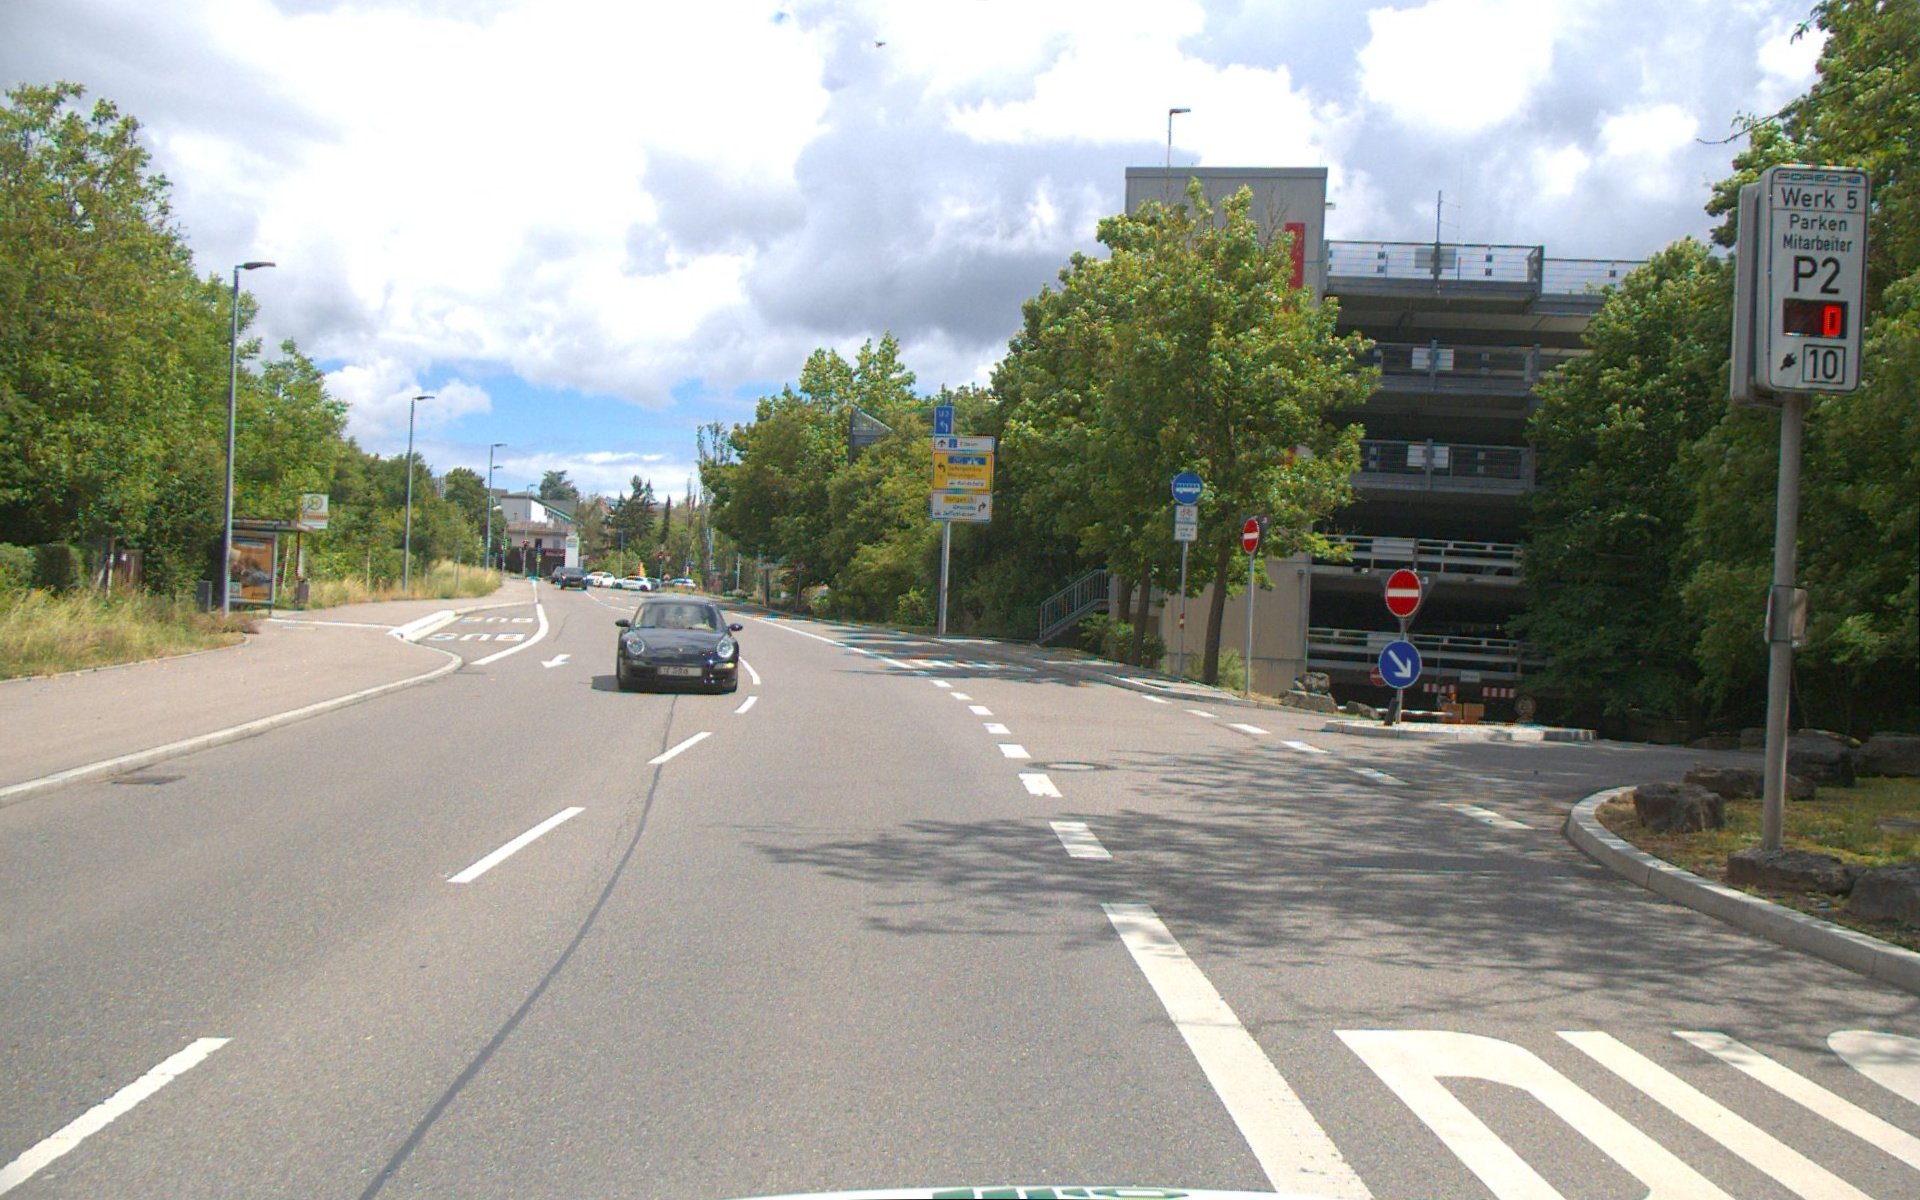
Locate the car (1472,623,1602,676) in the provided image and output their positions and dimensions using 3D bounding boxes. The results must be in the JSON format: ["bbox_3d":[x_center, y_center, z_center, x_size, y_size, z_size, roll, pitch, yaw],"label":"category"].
[{"bbox_3d":[20.776,1.769,59.732,4.222,1.659,2.001,3,0,14],"label":"car"}]

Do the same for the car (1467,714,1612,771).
[{"bbox_3d":[18.780,4.601,53.753,4.222,1.443,2.001,3,0,14],"label":"car"}]

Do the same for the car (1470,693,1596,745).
[{"bbox_3d":[21.164,4.383,61.263,4.222,1.515,2.001,3,0,14],"label":"car"}]

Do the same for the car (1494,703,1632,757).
[{"bbox_3d":[20.641,4.449,56.786,4.222,1.443,2.001,3,0,14],"label":"car"}]

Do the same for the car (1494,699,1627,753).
[{"bbox_3d":[21.270,4.451,58.771,4.222,1.515,2.001,3,0,14],"label":"car"}]

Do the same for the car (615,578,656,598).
[{"bbox_3d":[-33.460,-1.202,170.551,3.921,1.937,1.992,2,0,-16],"label":"car"}]

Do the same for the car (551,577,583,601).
[{"bbox_3d":[-27.780,-0.771,116.855,1.795,1.584,4.604,1,1,-19],"label":"car"}]

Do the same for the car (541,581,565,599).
[{"bbox_3d":[-33.892,-0.845,137.629,1.738,1.467,4.357,2,0,-17],"label":"car"}]

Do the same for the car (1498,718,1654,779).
[{"bbox_3d":[18.831,4.540,50.760,4.222,1.443,2.001,3,0,14],"label":"car"}]

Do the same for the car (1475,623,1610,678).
[{"bbox_3d":[20.279,1.731,57.723,4.222,1.659,2.001,3,0,14],"label":"car"}]

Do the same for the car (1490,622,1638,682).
[{"bbox_3d":[19.341,1.638,53.141,4.222,1.659,2.001,3,0,14],"label":"car"}]

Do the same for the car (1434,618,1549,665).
[{"bbox_3d":[21.378,1.641,66.702,4.222,1.659,2.001,3,0,14],"label":"car"}]

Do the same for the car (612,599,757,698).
[{"bbox_3d":[-4.048,0.681,24.864,1.700,1.324,4.001,1,0,-3],"label":"car"}]
